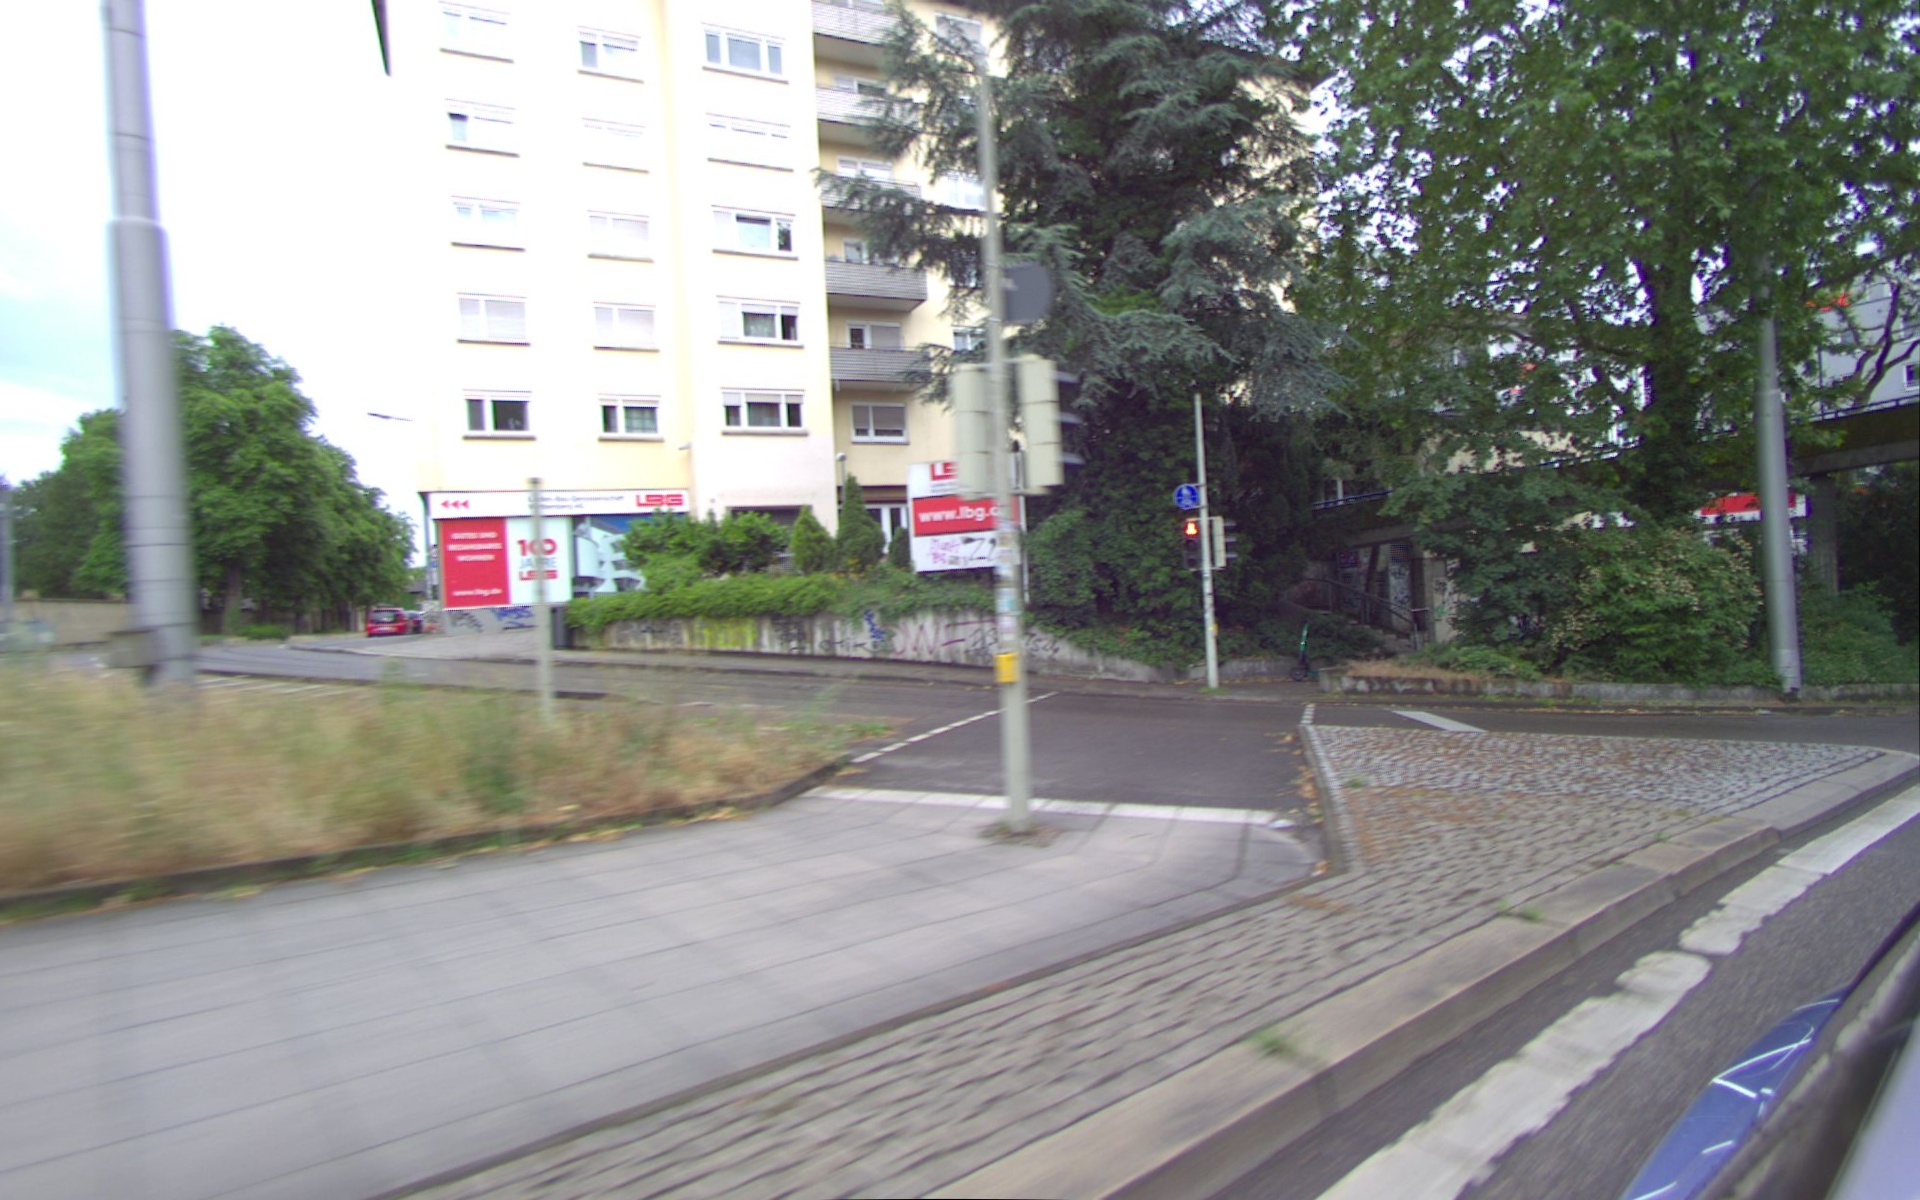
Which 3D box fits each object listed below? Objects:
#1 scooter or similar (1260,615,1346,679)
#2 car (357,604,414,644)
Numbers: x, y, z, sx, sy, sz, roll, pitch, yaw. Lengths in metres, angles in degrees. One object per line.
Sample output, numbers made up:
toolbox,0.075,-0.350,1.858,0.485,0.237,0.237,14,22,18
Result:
scooter or similar,7.012,0.933,20.649,1.881,1.233,0.602,0,0,-31
car,-27.208,1.082,48.014,1.812,1.773,4.008,0,0,-22
